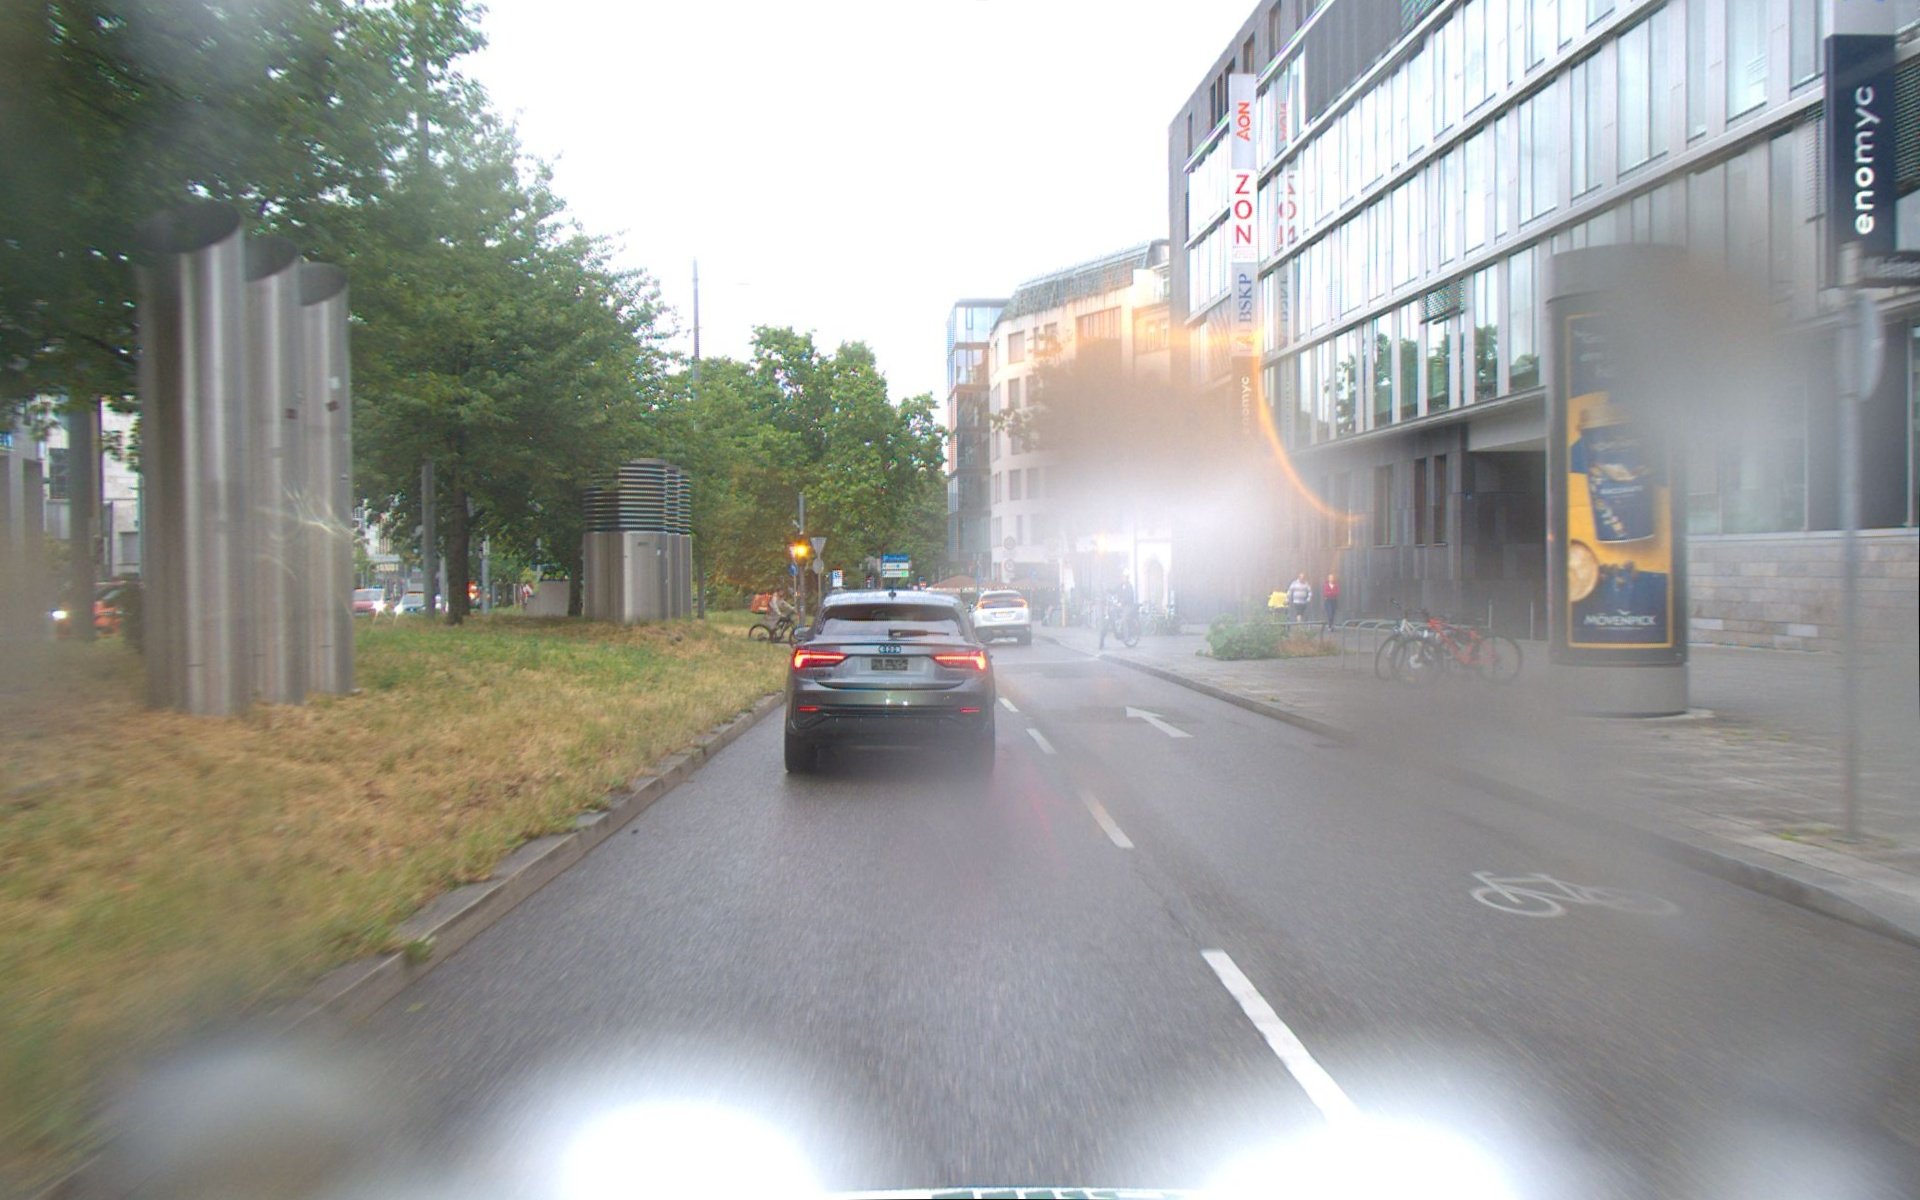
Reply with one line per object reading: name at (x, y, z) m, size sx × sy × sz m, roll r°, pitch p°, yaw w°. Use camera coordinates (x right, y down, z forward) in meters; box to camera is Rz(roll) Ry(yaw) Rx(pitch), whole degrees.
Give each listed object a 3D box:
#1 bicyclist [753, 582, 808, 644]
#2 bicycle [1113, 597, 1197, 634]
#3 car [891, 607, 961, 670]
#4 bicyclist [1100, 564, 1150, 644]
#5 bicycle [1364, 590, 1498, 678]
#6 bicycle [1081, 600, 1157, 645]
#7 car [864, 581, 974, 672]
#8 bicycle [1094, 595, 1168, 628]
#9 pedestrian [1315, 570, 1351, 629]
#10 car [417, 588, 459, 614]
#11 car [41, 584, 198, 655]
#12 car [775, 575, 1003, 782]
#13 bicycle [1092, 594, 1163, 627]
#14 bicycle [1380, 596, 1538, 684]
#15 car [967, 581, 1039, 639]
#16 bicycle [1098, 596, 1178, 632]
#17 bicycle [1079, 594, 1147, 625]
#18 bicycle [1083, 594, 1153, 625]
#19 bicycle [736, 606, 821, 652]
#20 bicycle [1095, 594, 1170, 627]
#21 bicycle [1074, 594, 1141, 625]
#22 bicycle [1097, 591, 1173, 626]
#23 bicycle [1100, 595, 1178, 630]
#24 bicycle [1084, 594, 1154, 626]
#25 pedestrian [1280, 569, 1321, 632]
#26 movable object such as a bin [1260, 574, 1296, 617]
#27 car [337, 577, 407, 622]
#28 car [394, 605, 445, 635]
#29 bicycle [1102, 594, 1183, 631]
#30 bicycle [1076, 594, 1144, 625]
bicyclist at (-4.815, 0.340, 44.379) m, size 1.109 × 1.610 × 1.015 m, roll 2°, pitch 0°, yaw 19°
bicycle at (6.002, 0.474, 51.022) m, size 2.486 × 1.075 × 0.677 m, roll -1°, pitch 0°, yaw -4°
car at (-0.937, 1.081, 48.012) m, size 1.905 × 1.675 × 4.245 m, roll -1°, pitch 0°, yaw 0°
bicyclist at (4.454, 0.107, 44.715) m, size 1.074 × 2.119 × 0.753 m, roll -1°, pitch -1°, yaw -38°
bicycle at (7.032, 0.501, 24.745) m, size 1.797 × 1.218 × 0.661 m, roll -2°, pitch 0°, yaw 4°
bicycle at (4.290, 0.599, 44.571) m, size 2.111 × 1.165 × 0.753 m, roll -1°, pitch 0°, yaw -38°
car at (-0.907, 0.499, 34.414) m, size 2.119 × 1.735 × 4.551 m, roll -1°, pitch 0°, yaw -3°
bicycle at (5.990, 0.397, 57.970) m, size 2.486 × 1.106 × 0.677 m, roll -1°, pitch 0°, yaw -4°
pedestrian at (11.370, -0.017, 50.454) m, size 0.704 × 1.719 × 1.099 m, roll -3°, pitch 0°, yaw -5°
car at (-31.788, 0.039, 100.845) m, size 1.785 × 1.501 × 4.185 m, roll -1°, pitch 0°, yaw -8°
car at (-18.965, 0.392, 37.512) m, size 1.826 × 1.454 × 4.126 m, roll -1°, pitch 1°, yaw -7°
car at (-0.548, 0.597, 15.296) m, size 1.810 × 1.644 × 4.253 m, roll 0°, pitch 1°, yaw 0°
bicycle at (6.086, 0.374, 60.144) m, size 2.486 × 1.106 × 0.677 m, roll -1°, pitch 0°, yaw -4°
bicycle at (6.887, 0.545, 22.892) m, size 1.942 × 1.123 × 0.809 m, roll -2°, pitch 0°, yaw 4°
car at (1.345, 0.286, 51.173) m, size 2.134 × 1.730 × 4.001 m, roll -1°, pitch 0°, yaw 2°
bicycle at (5.721, 0.447, 53.305) m, size 2.486 × 1.106 × 0.677 m, roll 1°, pitch 0°, yaw -4°
bicycle at (5.783, 0.347, 62.628) m, size 2.486 × 1.106 × 0.677 m, roll -1°, pitch 0°, yaw -4°
bicycle at (5.898, 0.357, 61.738) m, size 2.486 × 1.106 × 0.677 m, roll -1°, pitch 0°, yaw -4°
bicycle at (-4.872, 0.771, 44.394) m, size 2.018 × 1.133 × 1.012 m, roll 2°, pitch 0°, yaw 20°
bicycle at (5.953, 0.354, 57.061) m, size 2.486 × 1.078 × 0.677 m, roll -1°, pitch 0°, yaw -4°
bicycle at (5.714, 0.368, 64.098) m, size 2.486 × 1.106 × 0.627 m, roll -1°, pitch 0°, yaw -4°
bicycle at (5.939, 0.293, 56.195) m, size 2.486 × 1.106 × 0.677 m, roll -1°, pitch 0°, yaw -4°
bicycle at (5.991, 0.419, 55.383) m, size 2.486 × 1.106 × 0.677 m, roll -1°, pitch 0°, yaw -4°
bicycle at (5.857, 0.356, 60.986) m, size 2.486 × 1.106 × 0.677 m, roll -1°, pitch 0°, yaw -4°
pedestrian at (10.346, 0.010, 50.304) m, size 0.882 × 1.823 × 1.046 m, roll -3°, pitch 0°, yaw -5°
movable object such as a bin at (9.906, -0.142, 51.596) m, size 0.716 × 1.286 × 1.444 m, roll -3°, pitch 0°, yaw -2°
car at (-23.721, -0.034, 66.846) m, size 1.909 × 1.730 × 3.993 m, roll -1°, pitch 0°, yaw -8°
car at (-28.265, 1.028, 86.561) m, size 1.833 × 1.501 × 3.993 m, roll -1°, pitch 0°, yaw -8°
bicycle at (5.790, 0.399, 52.501) m, size 2.486 × 1.106 × 0.677 m, roll -1°, pitch 0°, yaw -4°
bicycle at (5.743, 0.359, 63.375) m, size 2.486 × 1.106 × 0.677 m, roll -1°, pitch 0°, yaw -4°
